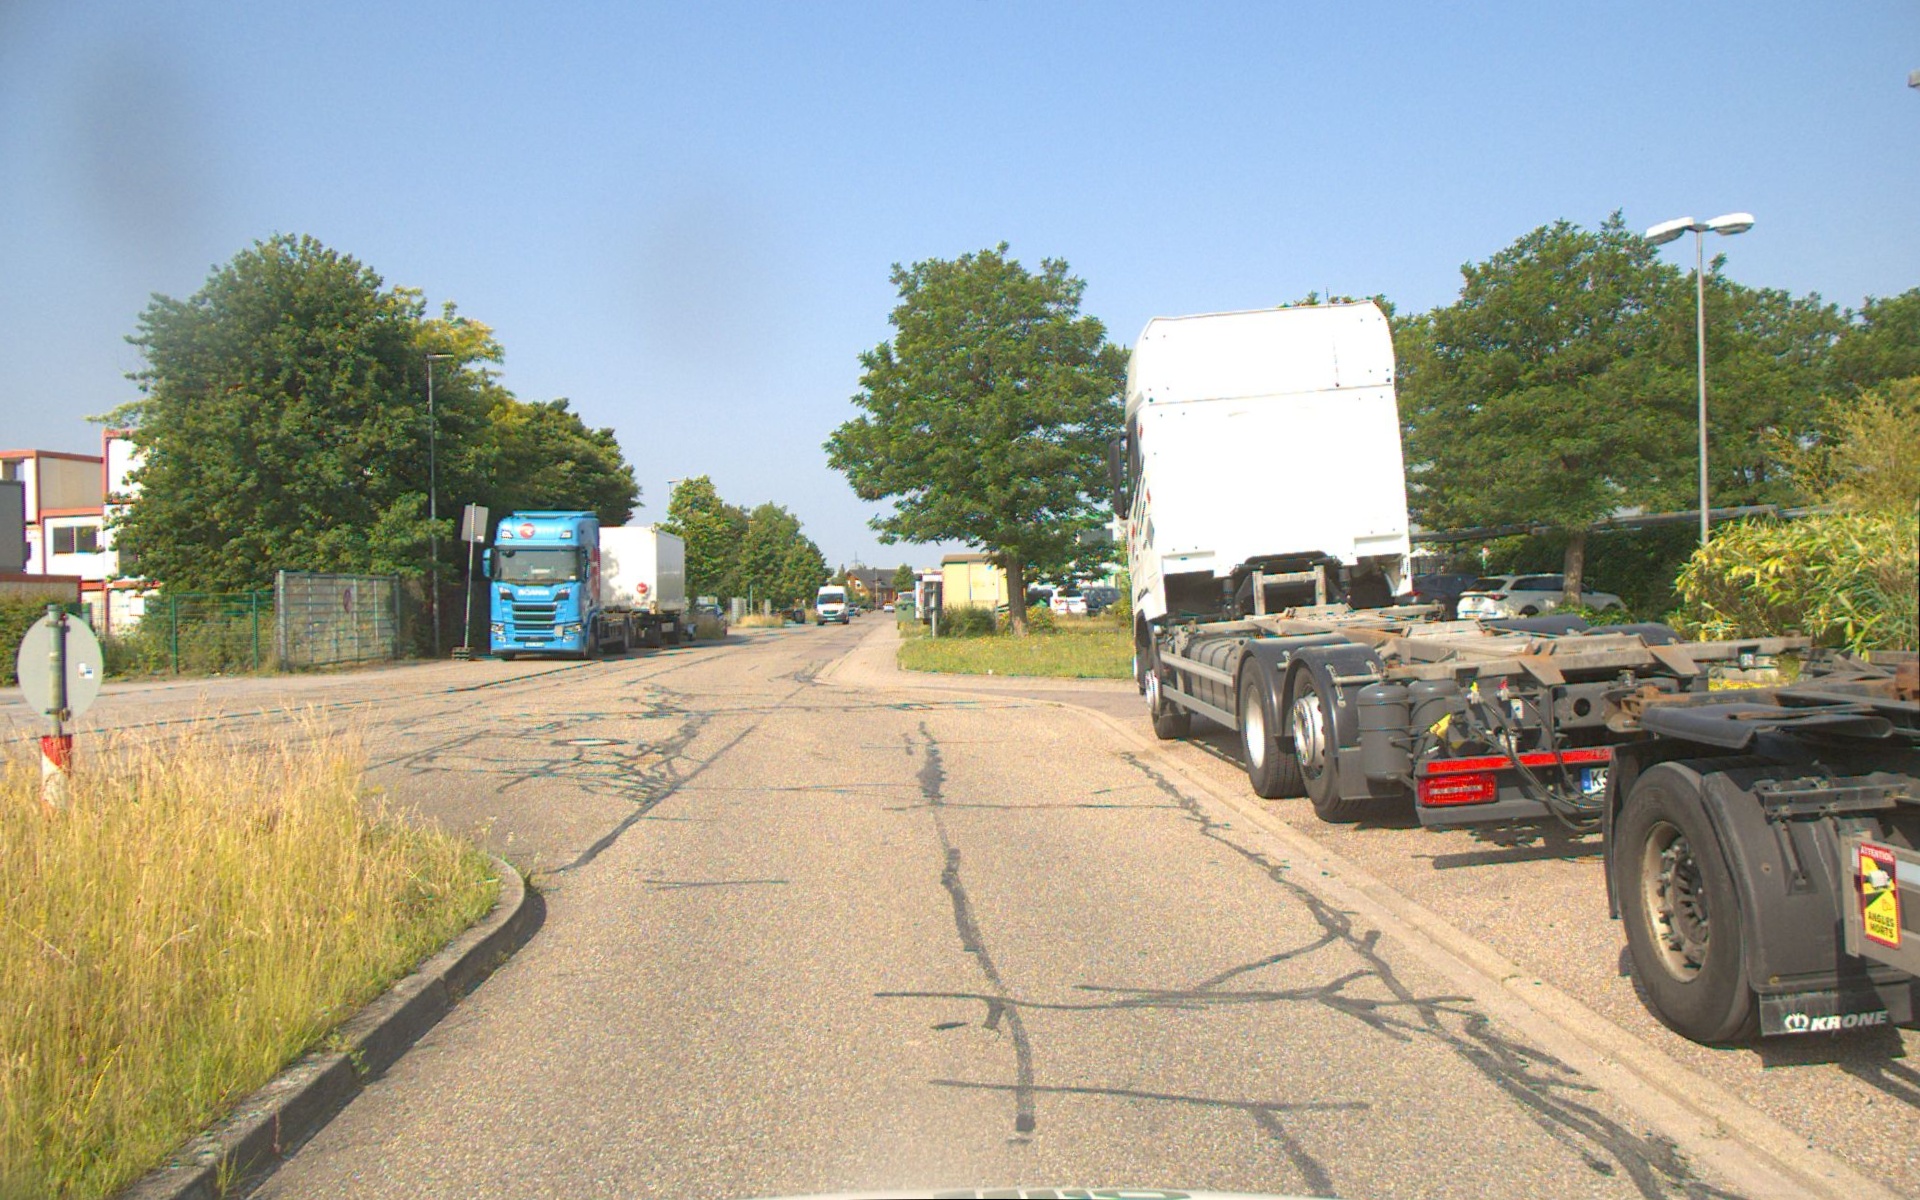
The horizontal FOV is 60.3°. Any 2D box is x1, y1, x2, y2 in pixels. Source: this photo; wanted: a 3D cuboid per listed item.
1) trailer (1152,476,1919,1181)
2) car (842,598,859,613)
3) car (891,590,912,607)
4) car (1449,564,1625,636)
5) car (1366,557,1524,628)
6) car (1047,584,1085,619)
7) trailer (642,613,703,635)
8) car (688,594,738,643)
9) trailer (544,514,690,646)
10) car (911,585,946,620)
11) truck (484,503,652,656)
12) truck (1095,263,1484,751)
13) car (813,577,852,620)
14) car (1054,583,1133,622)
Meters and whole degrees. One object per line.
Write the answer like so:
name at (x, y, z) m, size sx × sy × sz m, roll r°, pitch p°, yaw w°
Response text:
trailer at (3.390, 0.431, 7.342) m, size 2.691 × 1.601 × 16.166 m, roll -4°, pitch 0°, yaw -2°
car at (-12.823, 0.685, 193.579) m, size 1.608 × 1.691 × 3.993 m, roll 0°, pitch -1°, yaw -8°
car at (-6.730, -0.201, 189.530) m, size 1.739 × 1.847 × 3.988 m, roll 0°, pitch -1°, yaw -11°
car at (14.307, 0.030, 41.020) m, size 4.019 × 1.731 × 1.753 m, roll 1°, pitch -1°, yaw -23°
car at (12.902, -0.172, 43.978) m, size 3.950 × 1.798 × 1.977 m, roll 1°, pitch -1°, yaw -33°
car at (5.068, 0.094, 79.341) m, size 1.682 × 1.646 × 4.000 m, roll 0°, pitch -1°, yaw 1°
trailer at (-11.311, 0.936, 65.185) m, size 1.859 × 0.774 × 3.998 m, roll -2°, pitch 0°, yaw -3°
car at (-10.918, 0.806, 72.840) m, size 1.958 × 2.049 × 3.989 m, roll -1°, pitch 0°, yaw -11°
trailer at (-11.178, -0.488, 55.197) m, size 2.774 × 3.910 × 12.030 m, roll 0°, pitch -1°, yaw -2°
car at (-1.704, 0.169, 87.824) m, size 1.756 × 1.780 × 3.997 m, roll 0°, pitch -1°, yaw -3°
truck at (-10.869, -0.446, 46.931) m, size 2.768 × 3.893 × 9.667 m, roll 0°, pitch -1°, yaw -2°
truck at (3.037, -0.821, 16.396) m, size 2.691 × 4.050 × 3.999 m, roll -4°, pitch 0°, yaw -2°
car at (-8.659, -0.065, 111.742) m, size 2.173 × 2.733 × 6.840 m, roll 0°, pitch -1°, yaw -8°
car at (4.870, 0.105, 60.656) m, size 1.642 × 1.353 × 3.644 m, roll 0°, pitch -1°, yaw -18°
